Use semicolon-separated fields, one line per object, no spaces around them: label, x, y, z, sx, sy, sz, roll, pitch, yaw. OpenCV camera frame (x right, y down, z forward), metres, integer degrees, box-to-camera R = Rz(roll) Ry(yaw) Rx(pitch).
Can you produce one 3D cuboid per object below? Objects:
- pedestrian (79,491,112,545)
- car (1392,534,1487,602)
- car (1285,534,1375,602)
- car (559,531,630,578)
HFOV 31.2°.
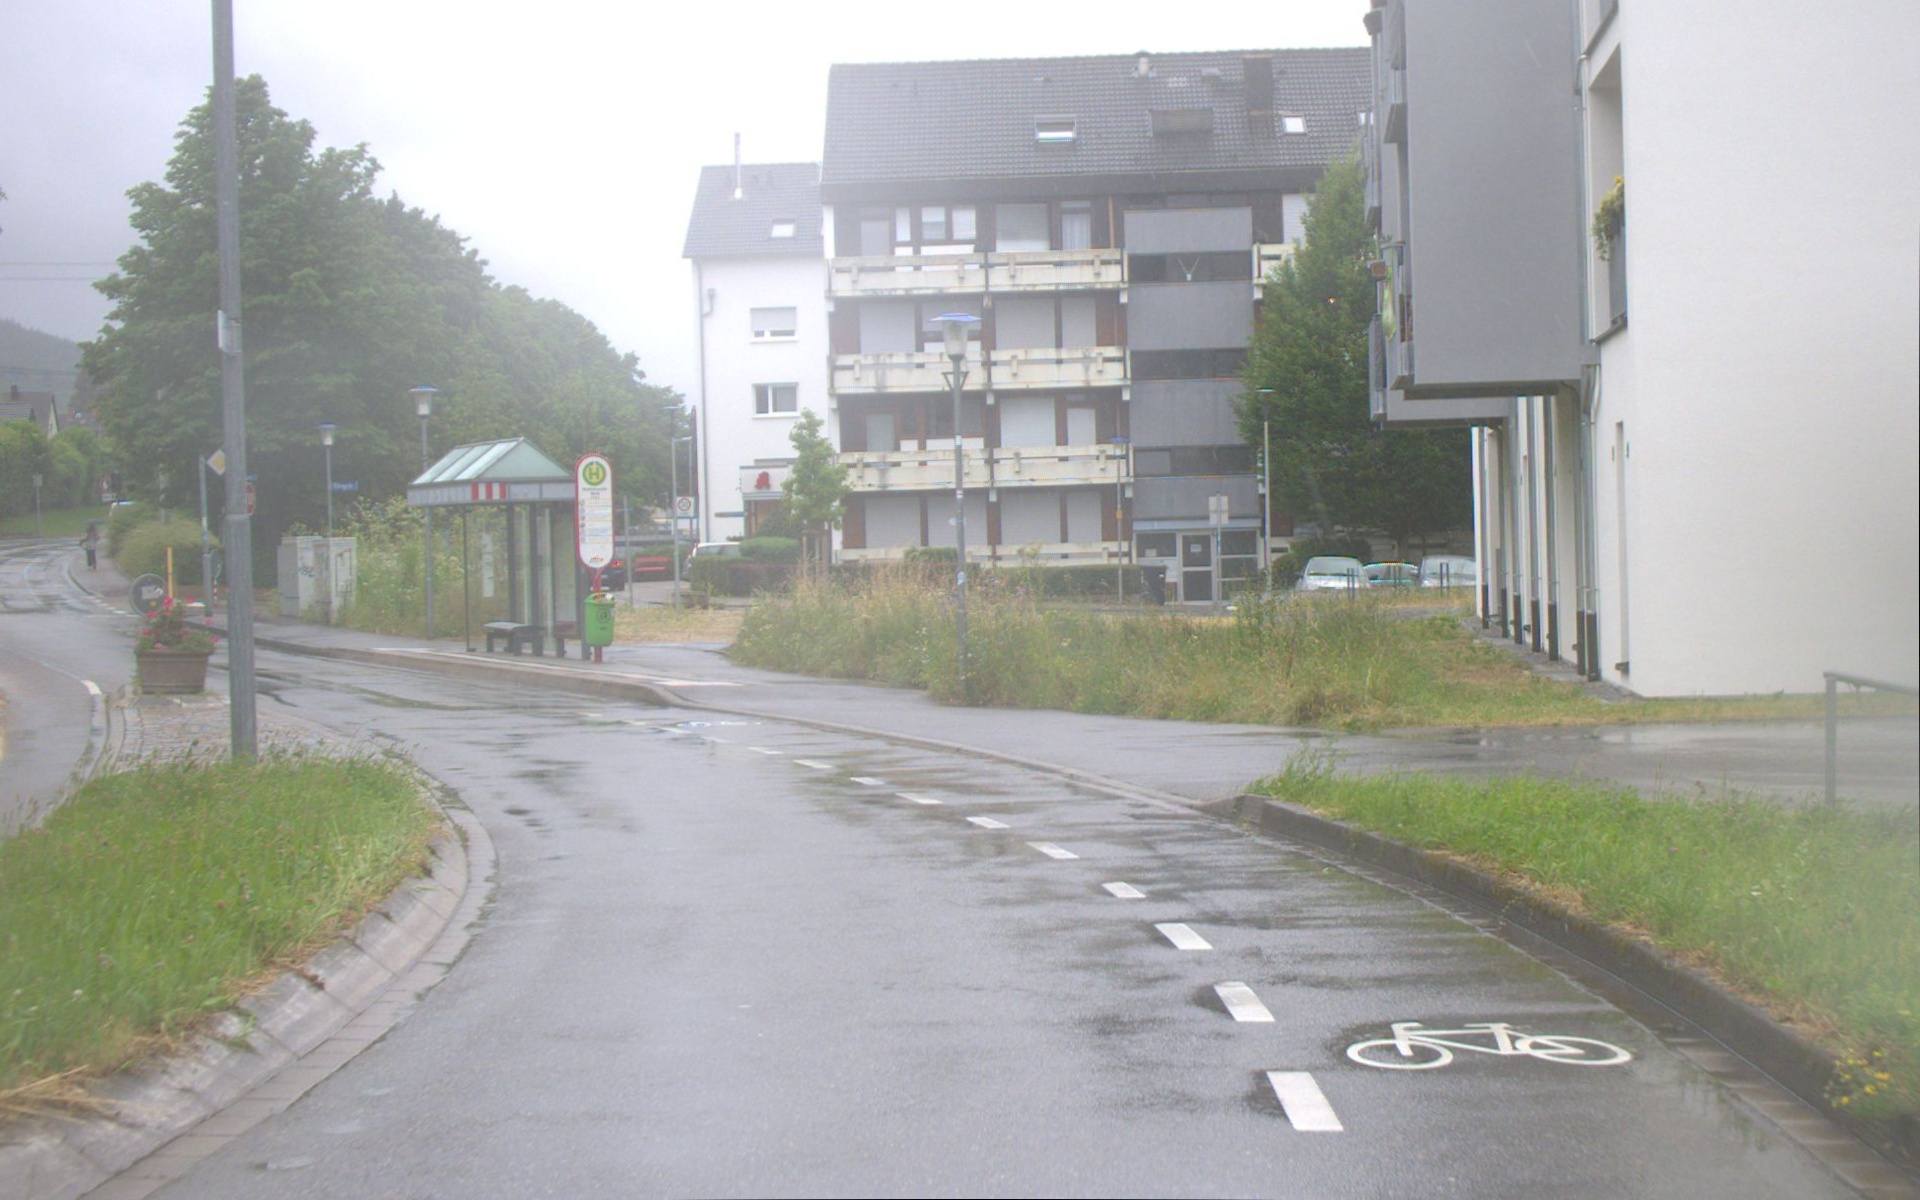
pedestrian;-28.097;-2.669;111.699;0.919;1.669;1.057;-3;3;-16
car;10.911;-0.718;78.432;1.716;1.436;3.706;0;-1;1
car;8.450;-0.717;78.758;1.716;1.436;3.706;0;-1;1
car;-12.081;-1.515;113.442;1.688;1.433;3.613;-1;3;-16
